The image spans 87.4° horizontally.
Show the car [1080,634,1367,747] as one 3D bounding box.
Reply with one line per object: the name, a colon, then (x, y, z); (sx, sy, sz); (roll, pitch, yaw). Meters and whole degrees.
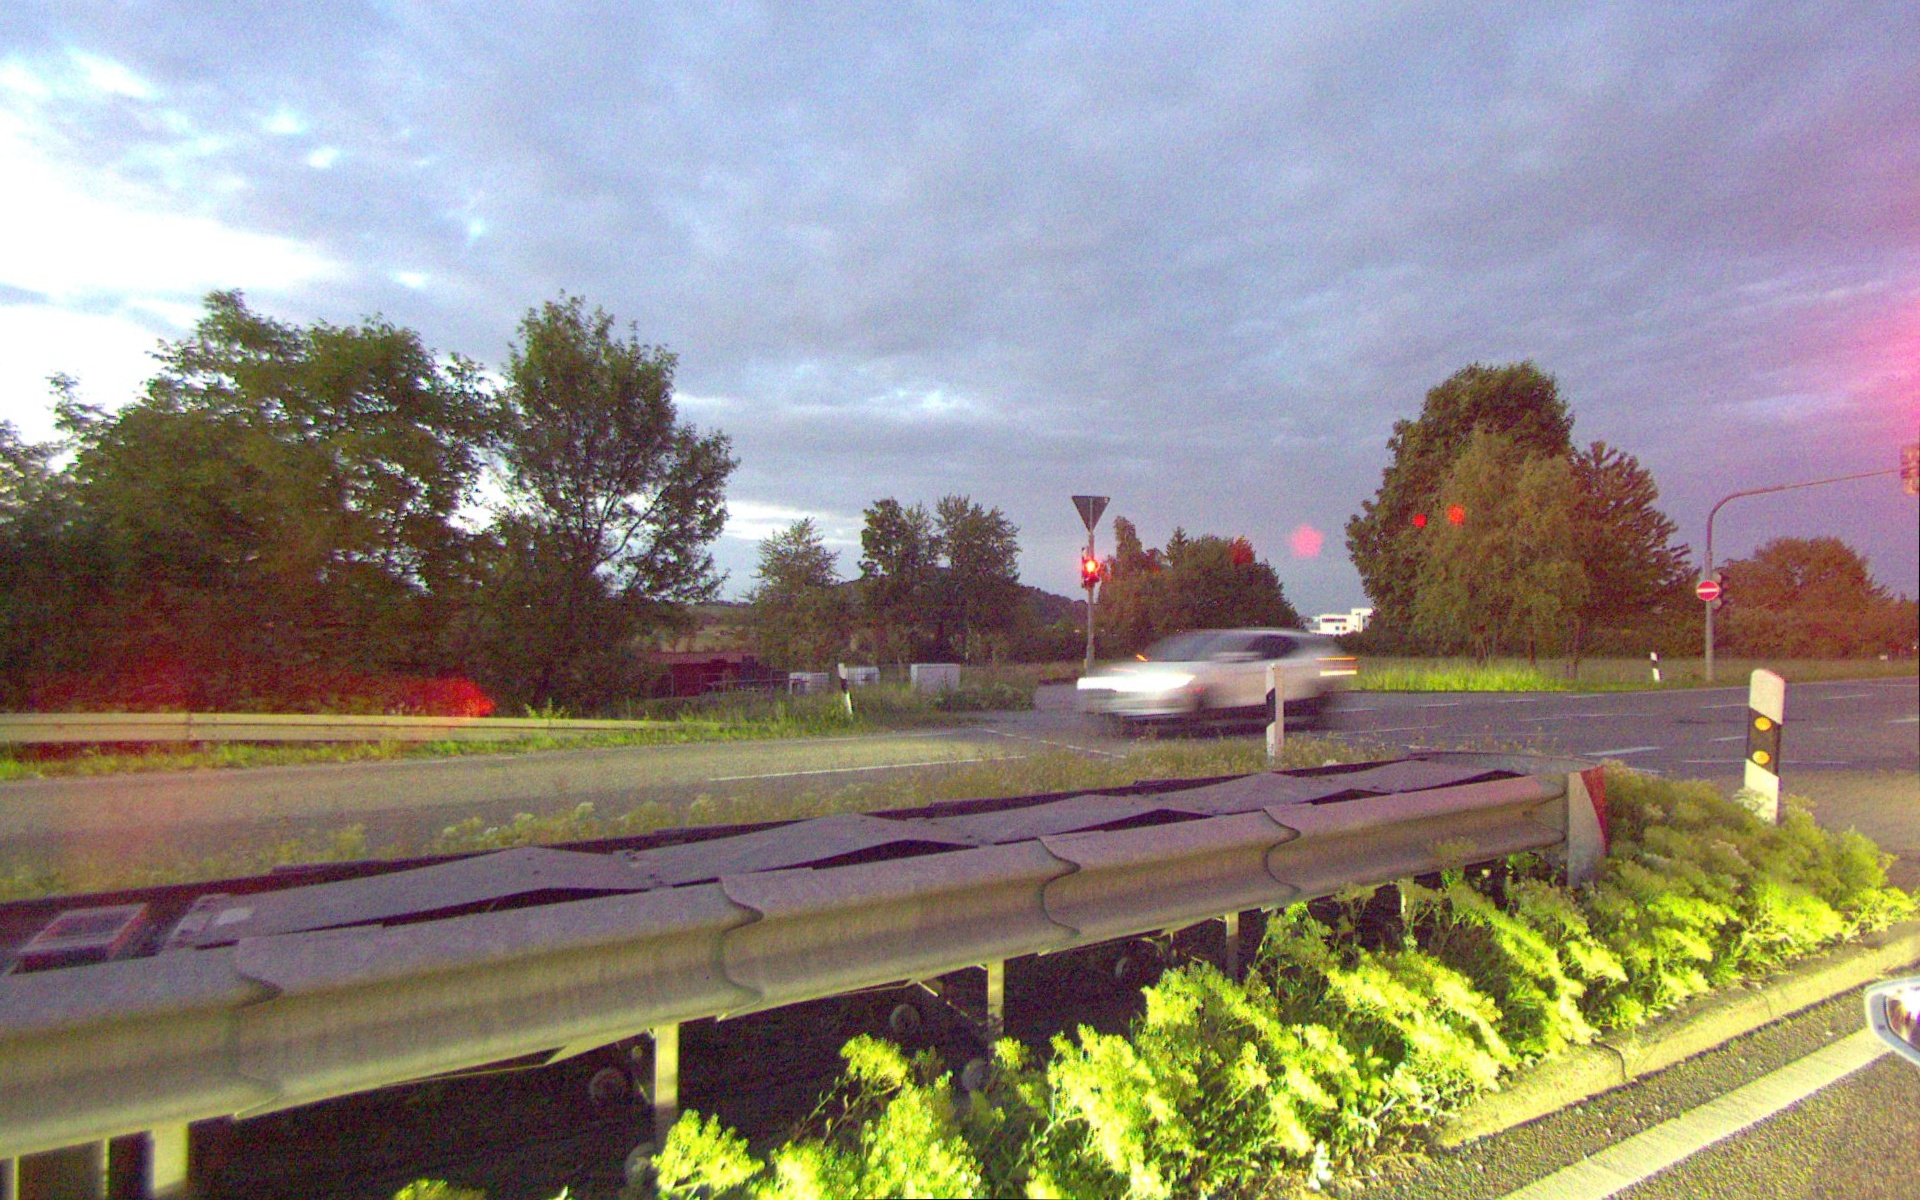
car: (4.178, 1.313, 15.827); (4.247, 1.539, 1.984); (1, -2, -30)
